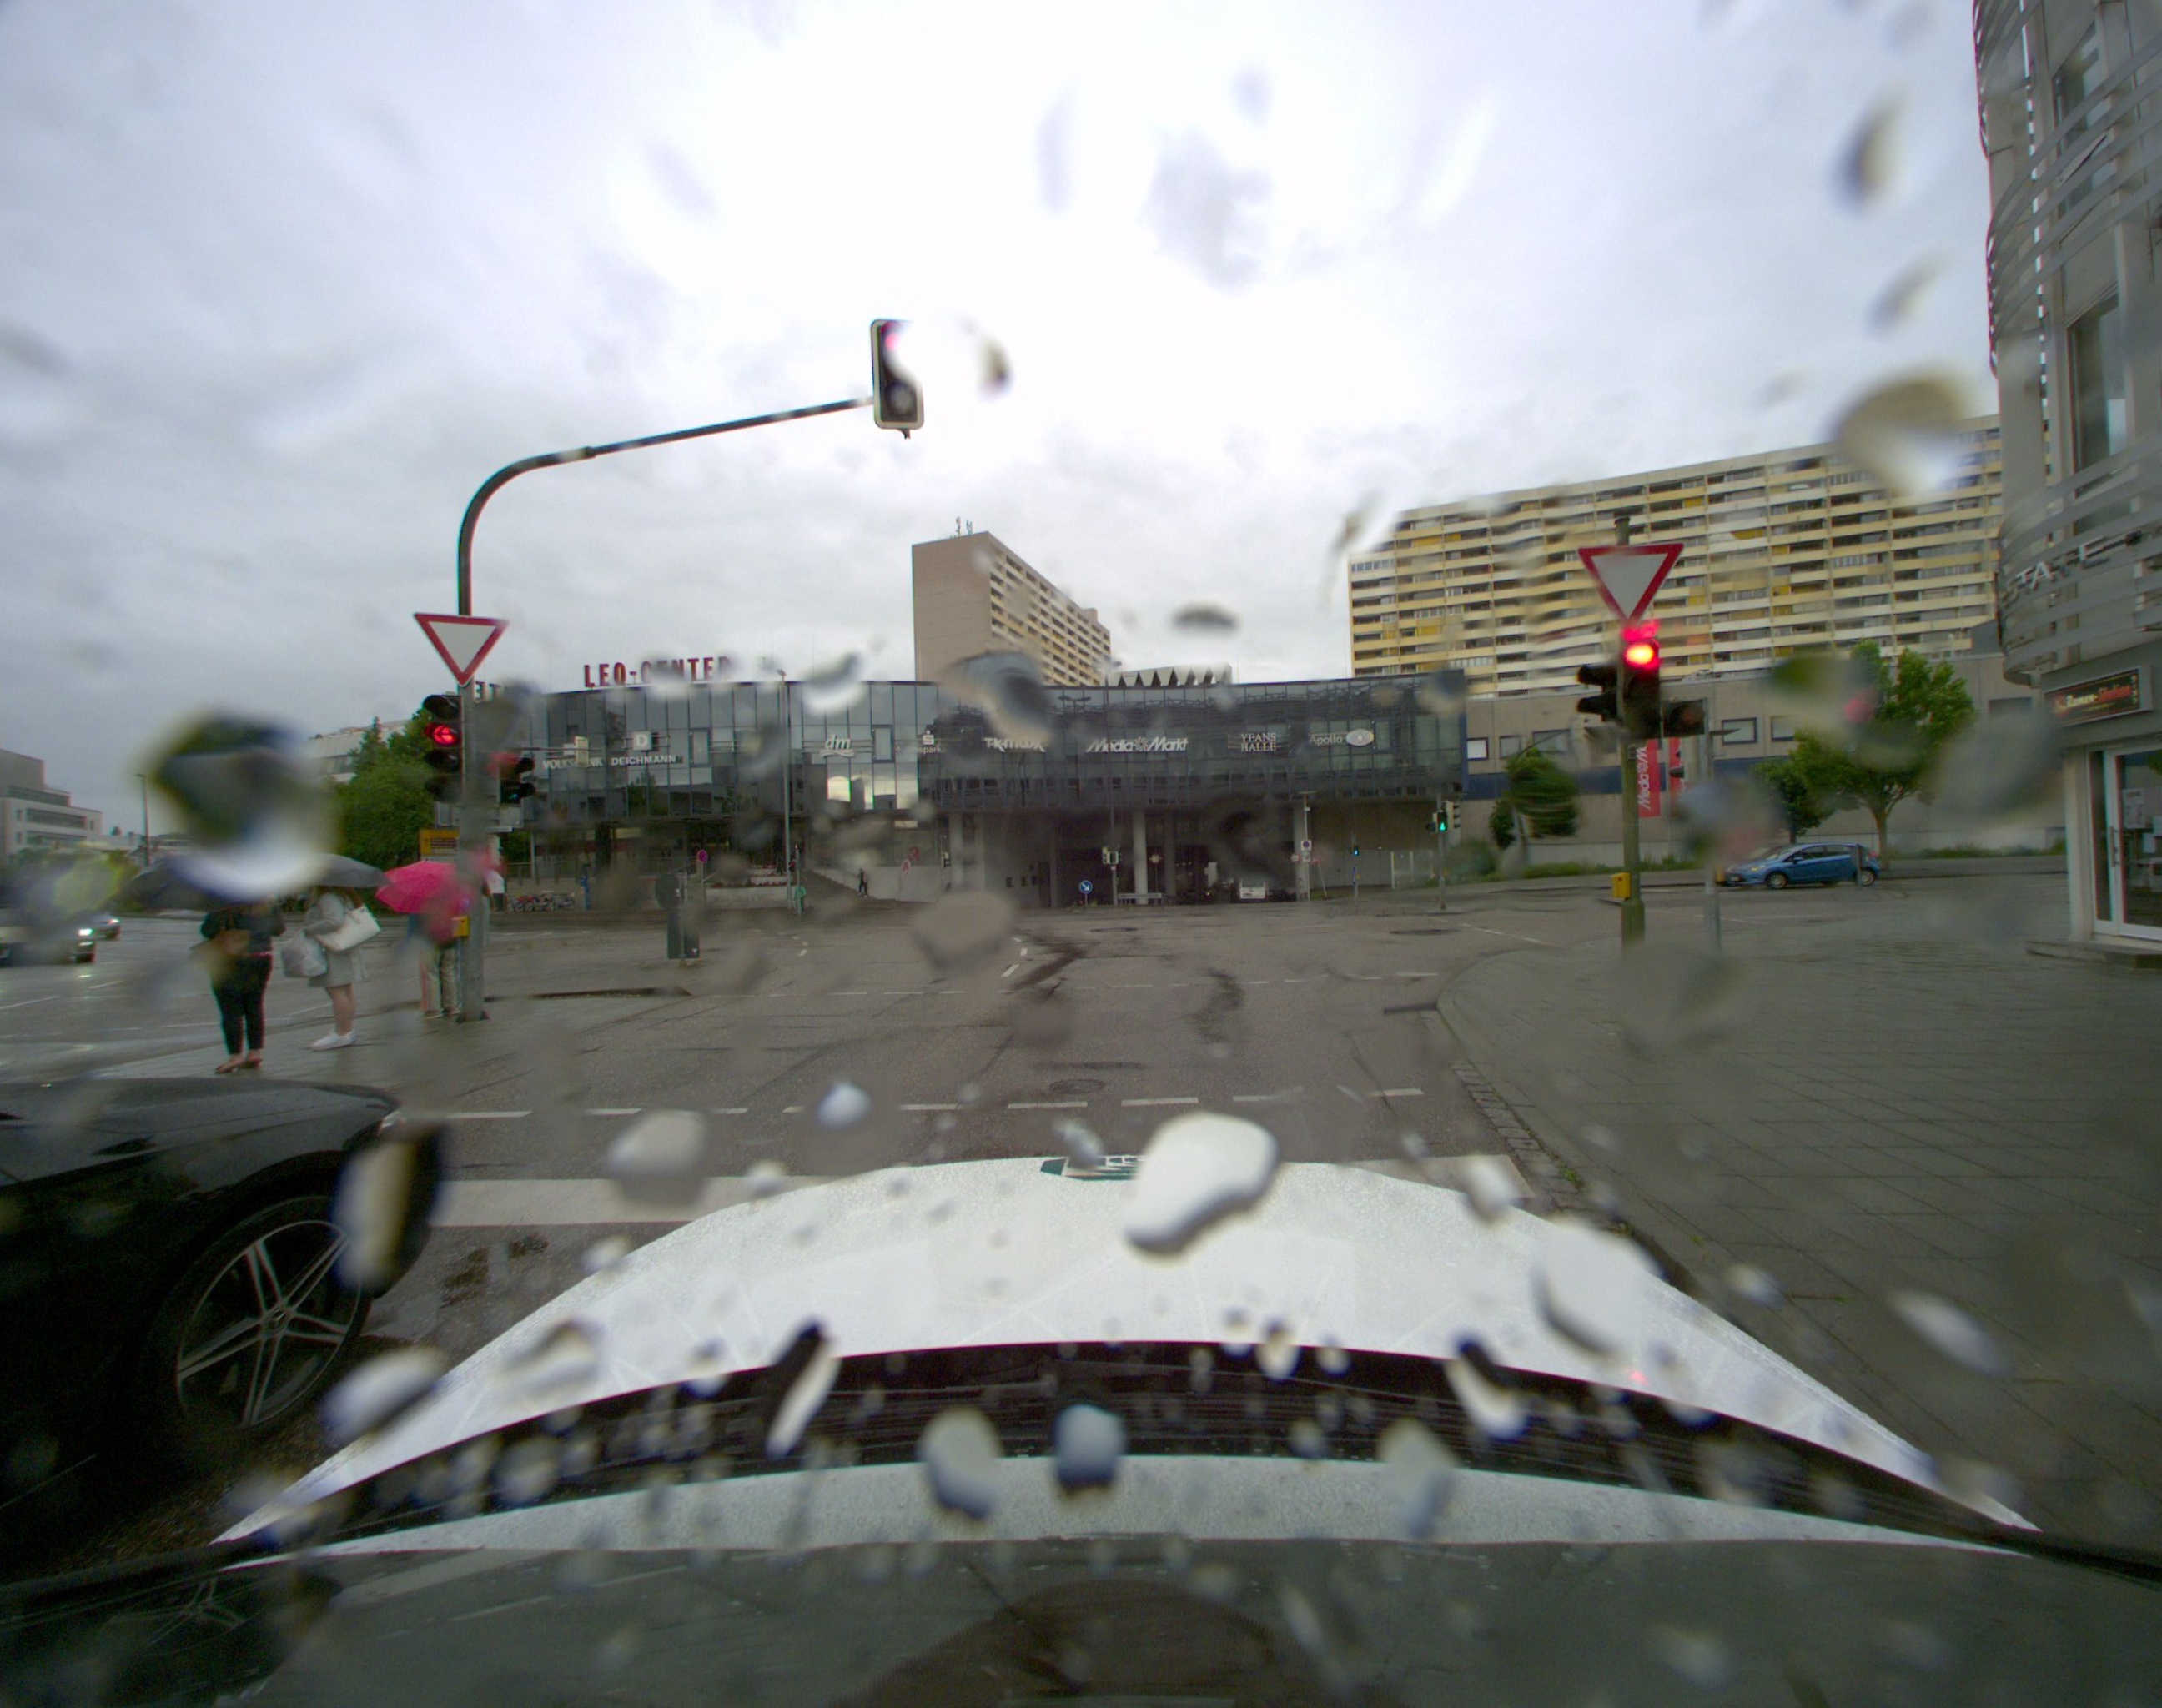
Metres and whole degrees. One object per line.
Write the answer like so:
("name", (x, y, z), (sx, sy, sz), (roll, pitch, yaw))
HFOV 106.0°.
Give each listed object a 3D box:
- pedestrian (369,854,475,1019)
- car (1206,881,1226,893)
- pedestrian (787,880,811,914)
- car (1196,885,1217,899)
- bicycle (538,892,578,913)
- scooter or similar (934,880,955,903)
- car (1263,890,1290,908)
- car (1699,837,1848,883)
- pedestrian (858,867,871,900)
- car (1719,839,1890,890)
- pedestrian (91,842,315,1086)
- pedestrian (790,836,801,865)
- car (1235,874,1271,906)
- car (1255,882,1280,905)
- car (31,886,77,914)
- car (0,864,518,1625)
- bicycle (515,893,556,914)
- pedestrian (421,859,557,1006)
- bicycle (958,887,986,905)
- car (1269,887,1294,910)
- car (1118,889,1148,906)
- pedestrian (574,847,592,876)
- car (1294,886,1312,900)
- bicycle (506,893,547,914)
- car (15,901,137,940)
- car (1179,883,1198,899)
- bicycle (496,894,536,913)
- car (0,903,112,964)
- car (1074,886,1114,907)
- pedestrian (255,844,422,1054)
("pedestrian", (-7.195, 0.860, 8.897), (0.811, 1.685, 0.665), (-1, -2, -45))
("car", (18.135, 4.458, 109.566), (1.978, 1.464, 4.018), (-3, -2, 18))
("pedestrian", (-13.930, 2.126, 40.278), (0.949, 1.623, 0.806), (-2, -1, -11))
("car", (15.760, 4.745, 101.984), (1.978, 1.664, 4.018), (-1, -1, 18))
("bicycle", (-29.843, 2.779, 46.468), (0.625, 1.023, 1.865), (-3, 1, 21))
("scooter or similar", (-8.215, 2.251, 49.003), (1.167, 1.373, 0.487), (0, -1, -13))
("car", (15.967, 3.700, 66.292), (1.765, 1.400, 4.017), (-3, -4, 18))
("car", (25.016, 0.229, 29.542), (3.660, 1.395, 1.750), (-4, -2, 11))
("pedestrian", (-12.774, 1.749, 48.063), (0.655, 1.908, 0.593), (-1, -1, -6))
("car", (23.597, 0.346, 26.704), (3.819, 1.397, 1.684), (-3, -2, 10))
("pedestrian", (-6.890, 0.801, 6.464), (0.956, 1.736, 0.829), (-2, -1, -28))
("pedestrian", (-17.653, -0.208, 50.372), (0.633, 1.807, 0.501), (0, -1, -15))
("car", (10.366, 2.131, 48.887), (1.912, 1.798, 4.311), (-3, -2, 13))
("car", (14.033, 2.962, 61.163), (1.621, 1.612, 4.277), (-4, -4, 13))
("car", (-75.046, 3.311, 59.509), (4.085, 1.896, 2.062), (-1, -1, 38))
("car", (-2.985, 0.800, 1.024), (1.657, 1.481, 4.094), (0, 0, 0))
("bicycle", (-31.428, 2.837, 46.953), (0.640, 1.042, 1.865), (-3, 1, 21))
("pedestrian", (-7.149, 0.915, 9.889), (0.932, 1.677, 0.917), (-2, -1, 1))
("bicycle", (-6.622, 2.557, 49.471), (1.590, 1.018, 0.448), (5, -3, -29))
("car", (17.427, 3.833, 70.653), (1.777, 1.771, 4.017), (-3, -2, 17))
("car", (4.807, 3.973, 74.840), (1.756, 1.464, 3.893), (-3, -3, 18))
("pedestrian", (-29.537, 0.448, 48.277), (0.592, 1.714, 0.658), (-1, -1, 25))
("car", (24.730, 4.345, 90.743), (1.873, 1.491, 3.857), (-1, -1, 16))
("bicycle", (-32.137, 2.851, 47.201), (0.621, 1.033, 1.865), (-3, 1, 21))
("car", (-41.525, 2.745, 33.670), (3.949, 1.441, 1.754), (-2, -1, 16))
("car", (12.738, 4.311, 96.286), (1.823, 1.728, 4.014), (-2, -1, 14))
("bicycle", (-32.822, 2.867, 47.342), (0.529, 0.951, 1.866), (-1, 2, 24))
("car", (-28.123, 2.085, 21.745), (5.079, 1.414, 2.137), (-3, -2, 31))
("car", (1.043, 3.306, 63.178), (1.877, 1.470, 4.045), (-2, -5, 19))
("pedestrian", (-6.781, 0.802, 7.443), (1.123, 1.744, 0.865), (-3, -1, 34))
